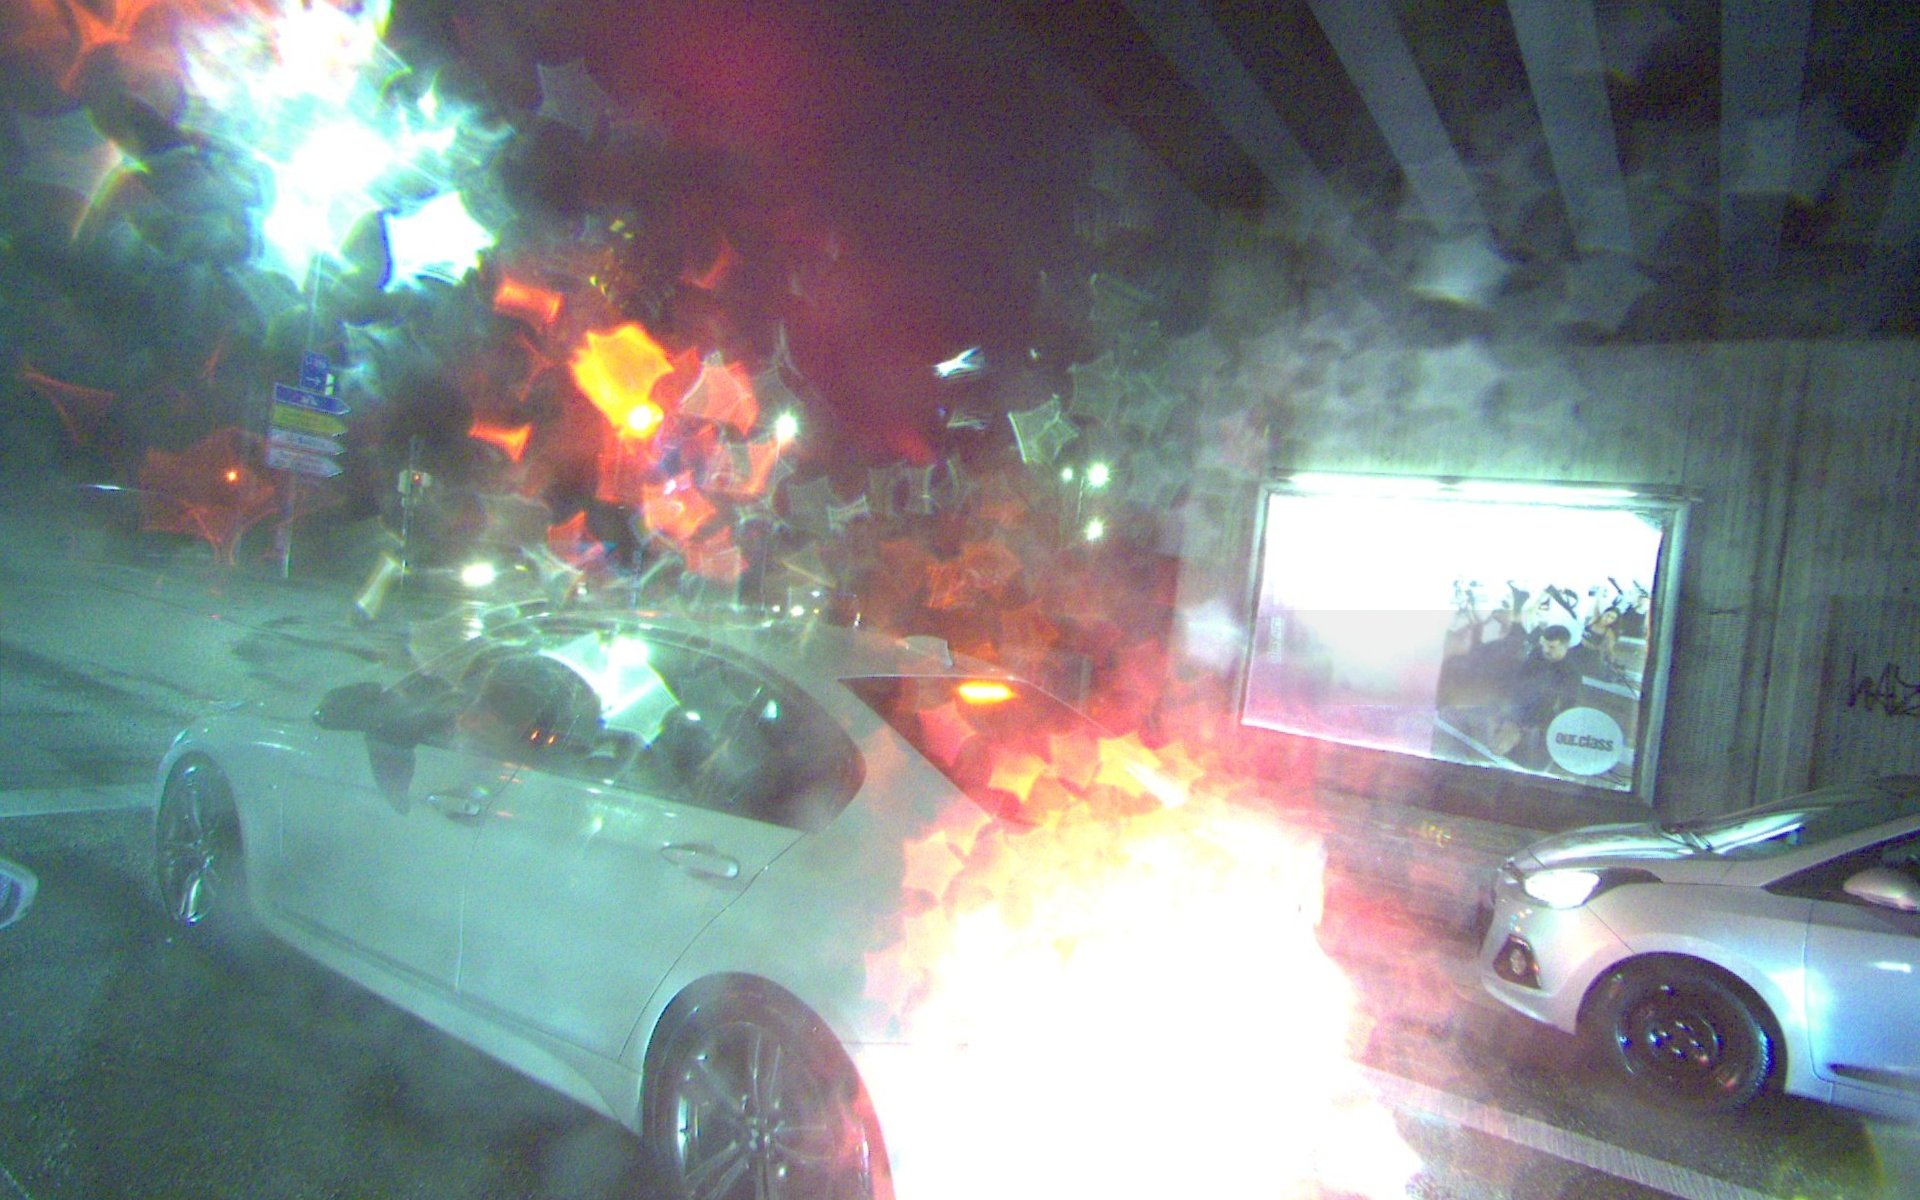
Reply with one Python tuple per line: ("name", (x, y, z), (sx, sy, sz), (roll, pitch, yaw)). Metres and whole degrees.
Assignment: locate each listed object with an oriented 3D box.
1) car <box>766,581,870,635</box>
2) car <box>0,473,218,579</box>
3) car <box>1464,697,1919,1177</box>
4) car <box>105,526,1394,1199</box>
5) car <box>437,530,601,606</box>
("car", (-6.212, 0.384, 44.404), (1.831, 1.769, 4.496), (6, -2, 35))
("car", (-20.401, -1.730, 23.099), (1.938, 1.761, 4.914), (6, -2, 30))
("car", (4.123, 1.388, 4.044), (3.533, 1.476, 1.637), (6, -2, 31))
("car", (-0.979, 0.700, 3.512), (4.277, 1.420, 1.720), (6, -2, 32))
("car", (-14.200, -0.996, 32.648), (1.881, 1.761, 4.387), (6, -2, 36))
